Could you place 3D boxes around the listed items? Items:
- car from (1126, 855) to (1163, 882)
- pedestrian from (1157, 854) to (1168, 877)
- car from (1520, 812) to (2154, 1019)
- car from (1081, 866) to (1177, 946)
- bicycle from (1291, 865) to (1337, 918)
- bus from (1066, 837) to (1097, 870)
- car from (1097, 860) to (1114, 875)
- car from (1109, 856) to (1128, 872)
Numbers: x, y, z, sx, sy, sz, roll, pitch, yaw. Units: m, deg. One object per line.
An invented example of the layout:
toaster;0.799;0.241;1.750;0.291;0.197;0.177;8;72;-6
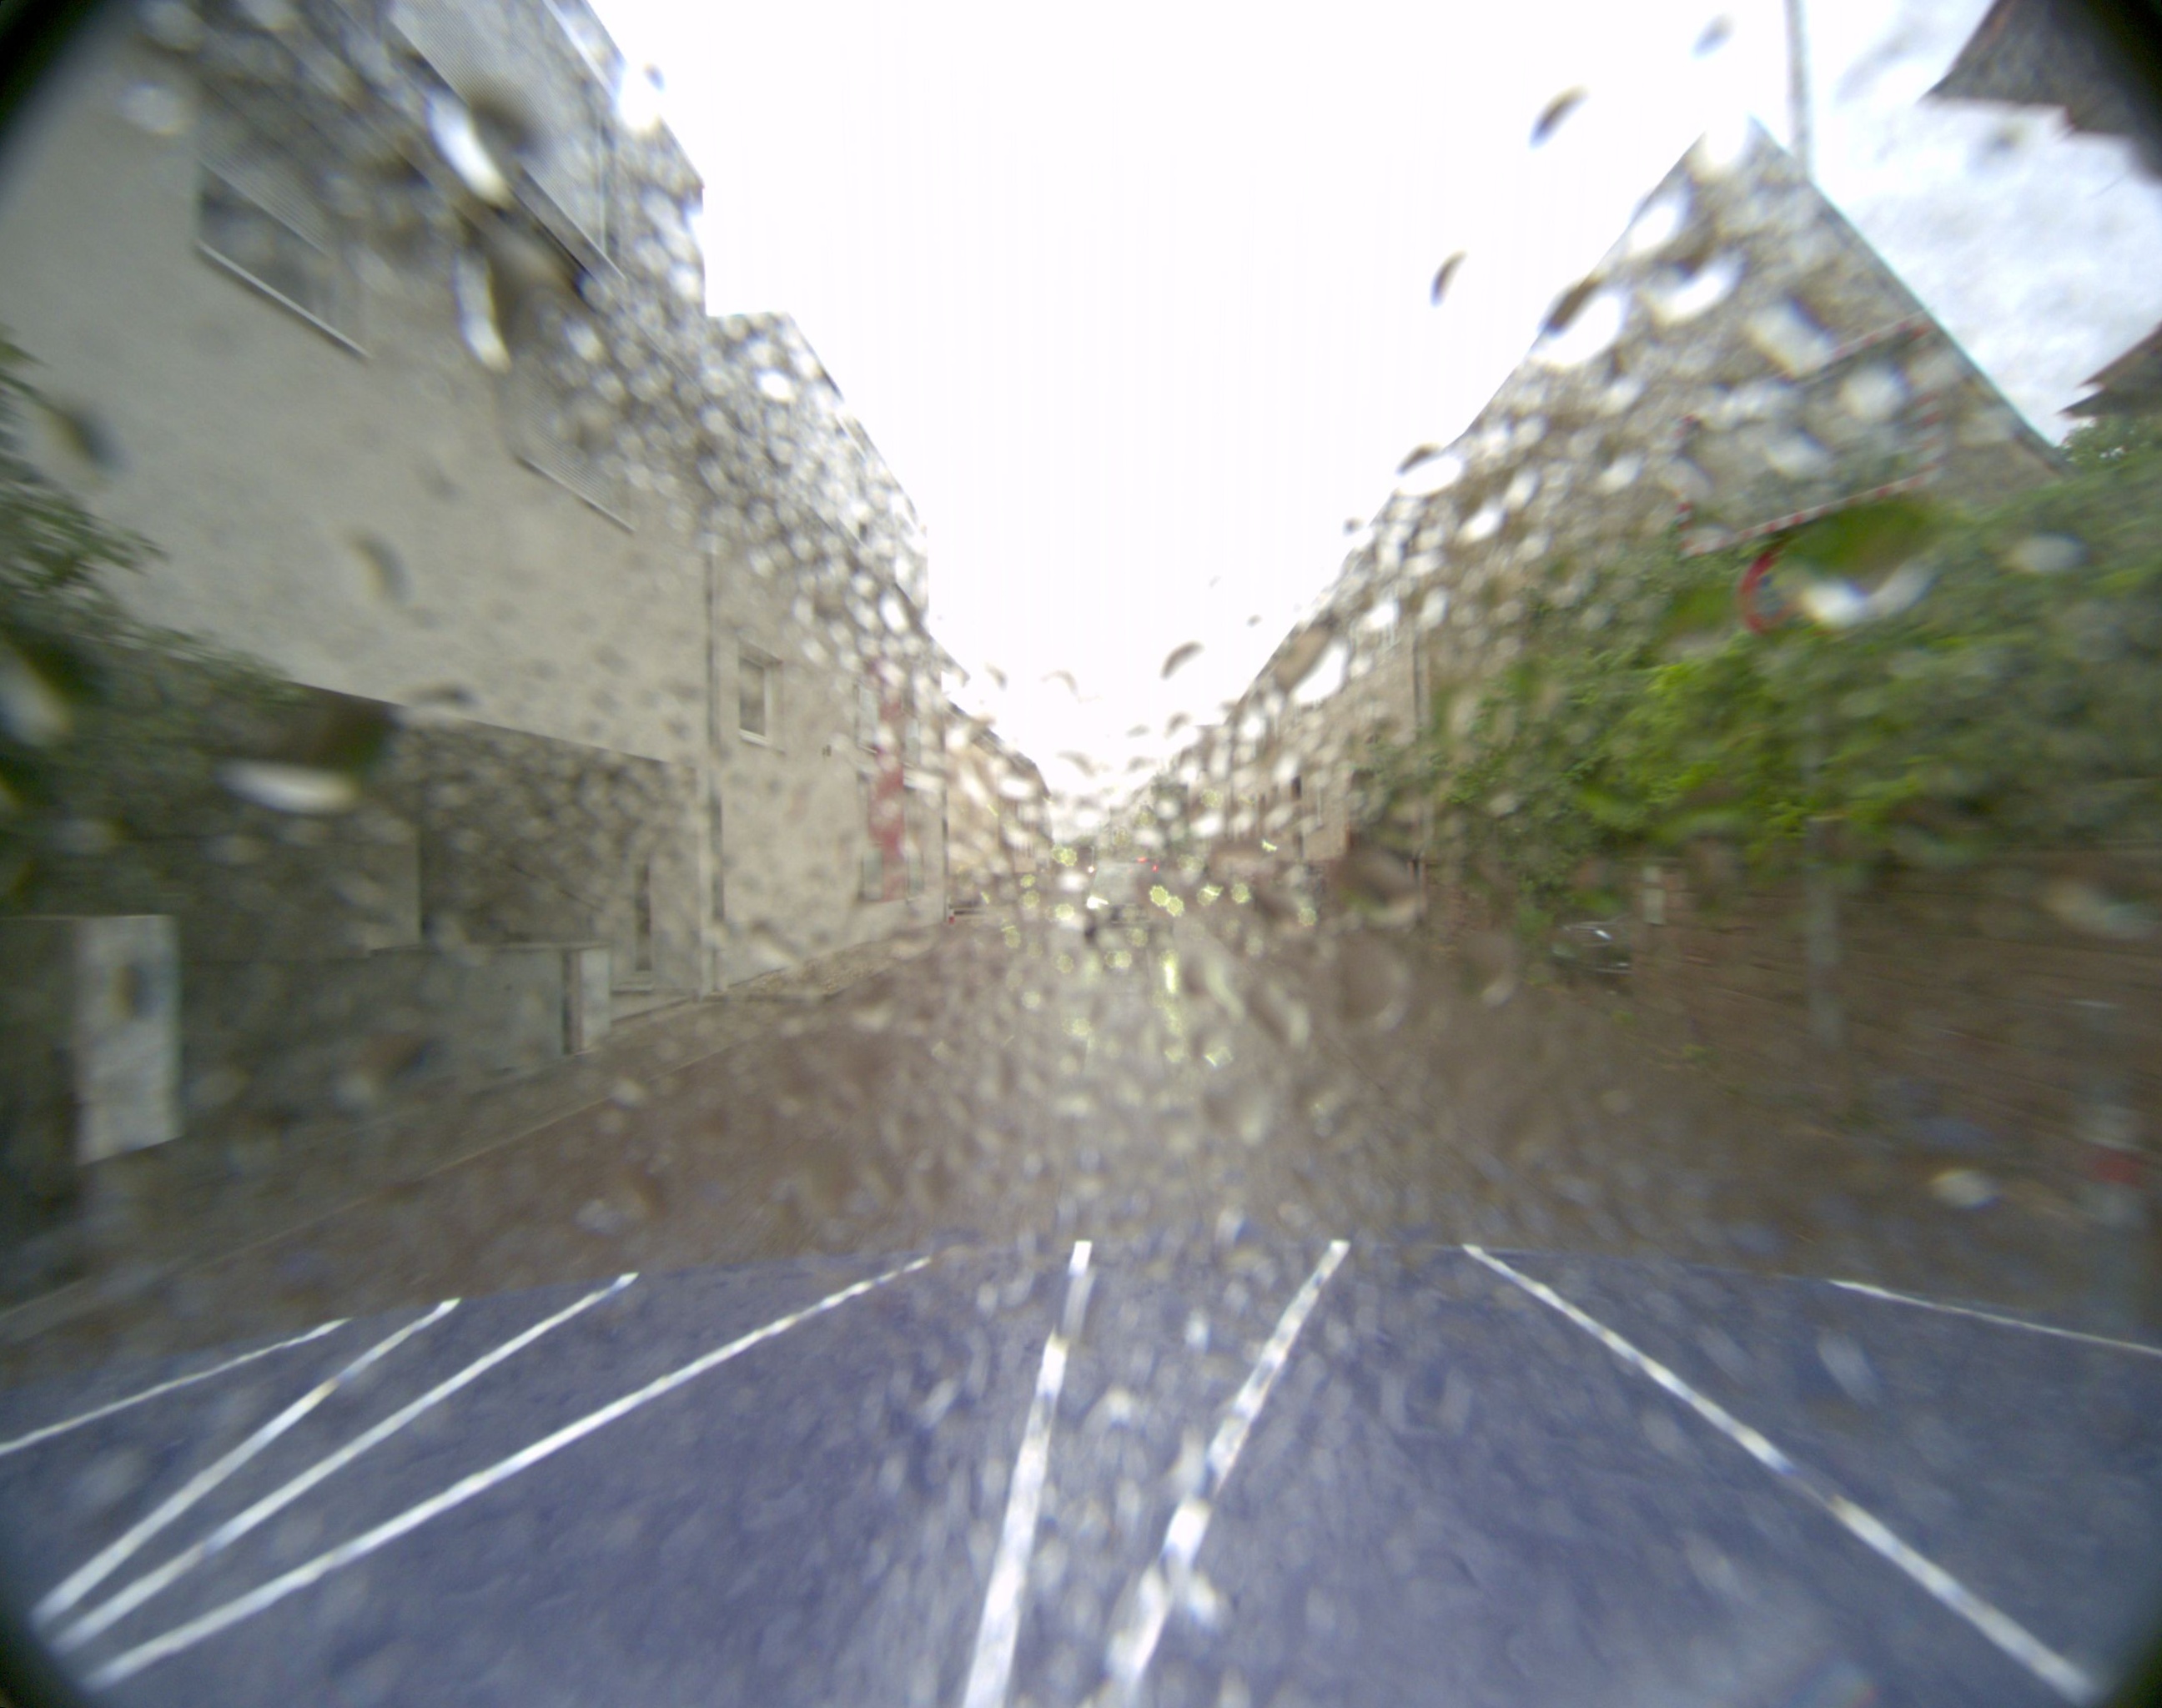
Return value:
car;3.952;0.870;47.883;1.837;1.546;4.238;-2;1;-1
pedestrian;5.695;0.797;53.021;0.573;1.529;0.833;-3;0;-3
car;6.804;0.558;7.335;3.995;1.417;1.737;-6;0;9
car;0.978;1.018;16.406;1.739;1.362;4.103;-3;0;2
bicycle;5.547;0.859;18.163;0.483;1.171;1.874;-3;-1;0
bus;-0.068;-0.088;80.217;2.668;3.213;12.188;0;0;-3
car;2.618;1.397;81.444;1.700;1.500;4.341;0;0;0
car;3.565;0.929;72.487;1.608;1.504;3.688;-2;0;1
